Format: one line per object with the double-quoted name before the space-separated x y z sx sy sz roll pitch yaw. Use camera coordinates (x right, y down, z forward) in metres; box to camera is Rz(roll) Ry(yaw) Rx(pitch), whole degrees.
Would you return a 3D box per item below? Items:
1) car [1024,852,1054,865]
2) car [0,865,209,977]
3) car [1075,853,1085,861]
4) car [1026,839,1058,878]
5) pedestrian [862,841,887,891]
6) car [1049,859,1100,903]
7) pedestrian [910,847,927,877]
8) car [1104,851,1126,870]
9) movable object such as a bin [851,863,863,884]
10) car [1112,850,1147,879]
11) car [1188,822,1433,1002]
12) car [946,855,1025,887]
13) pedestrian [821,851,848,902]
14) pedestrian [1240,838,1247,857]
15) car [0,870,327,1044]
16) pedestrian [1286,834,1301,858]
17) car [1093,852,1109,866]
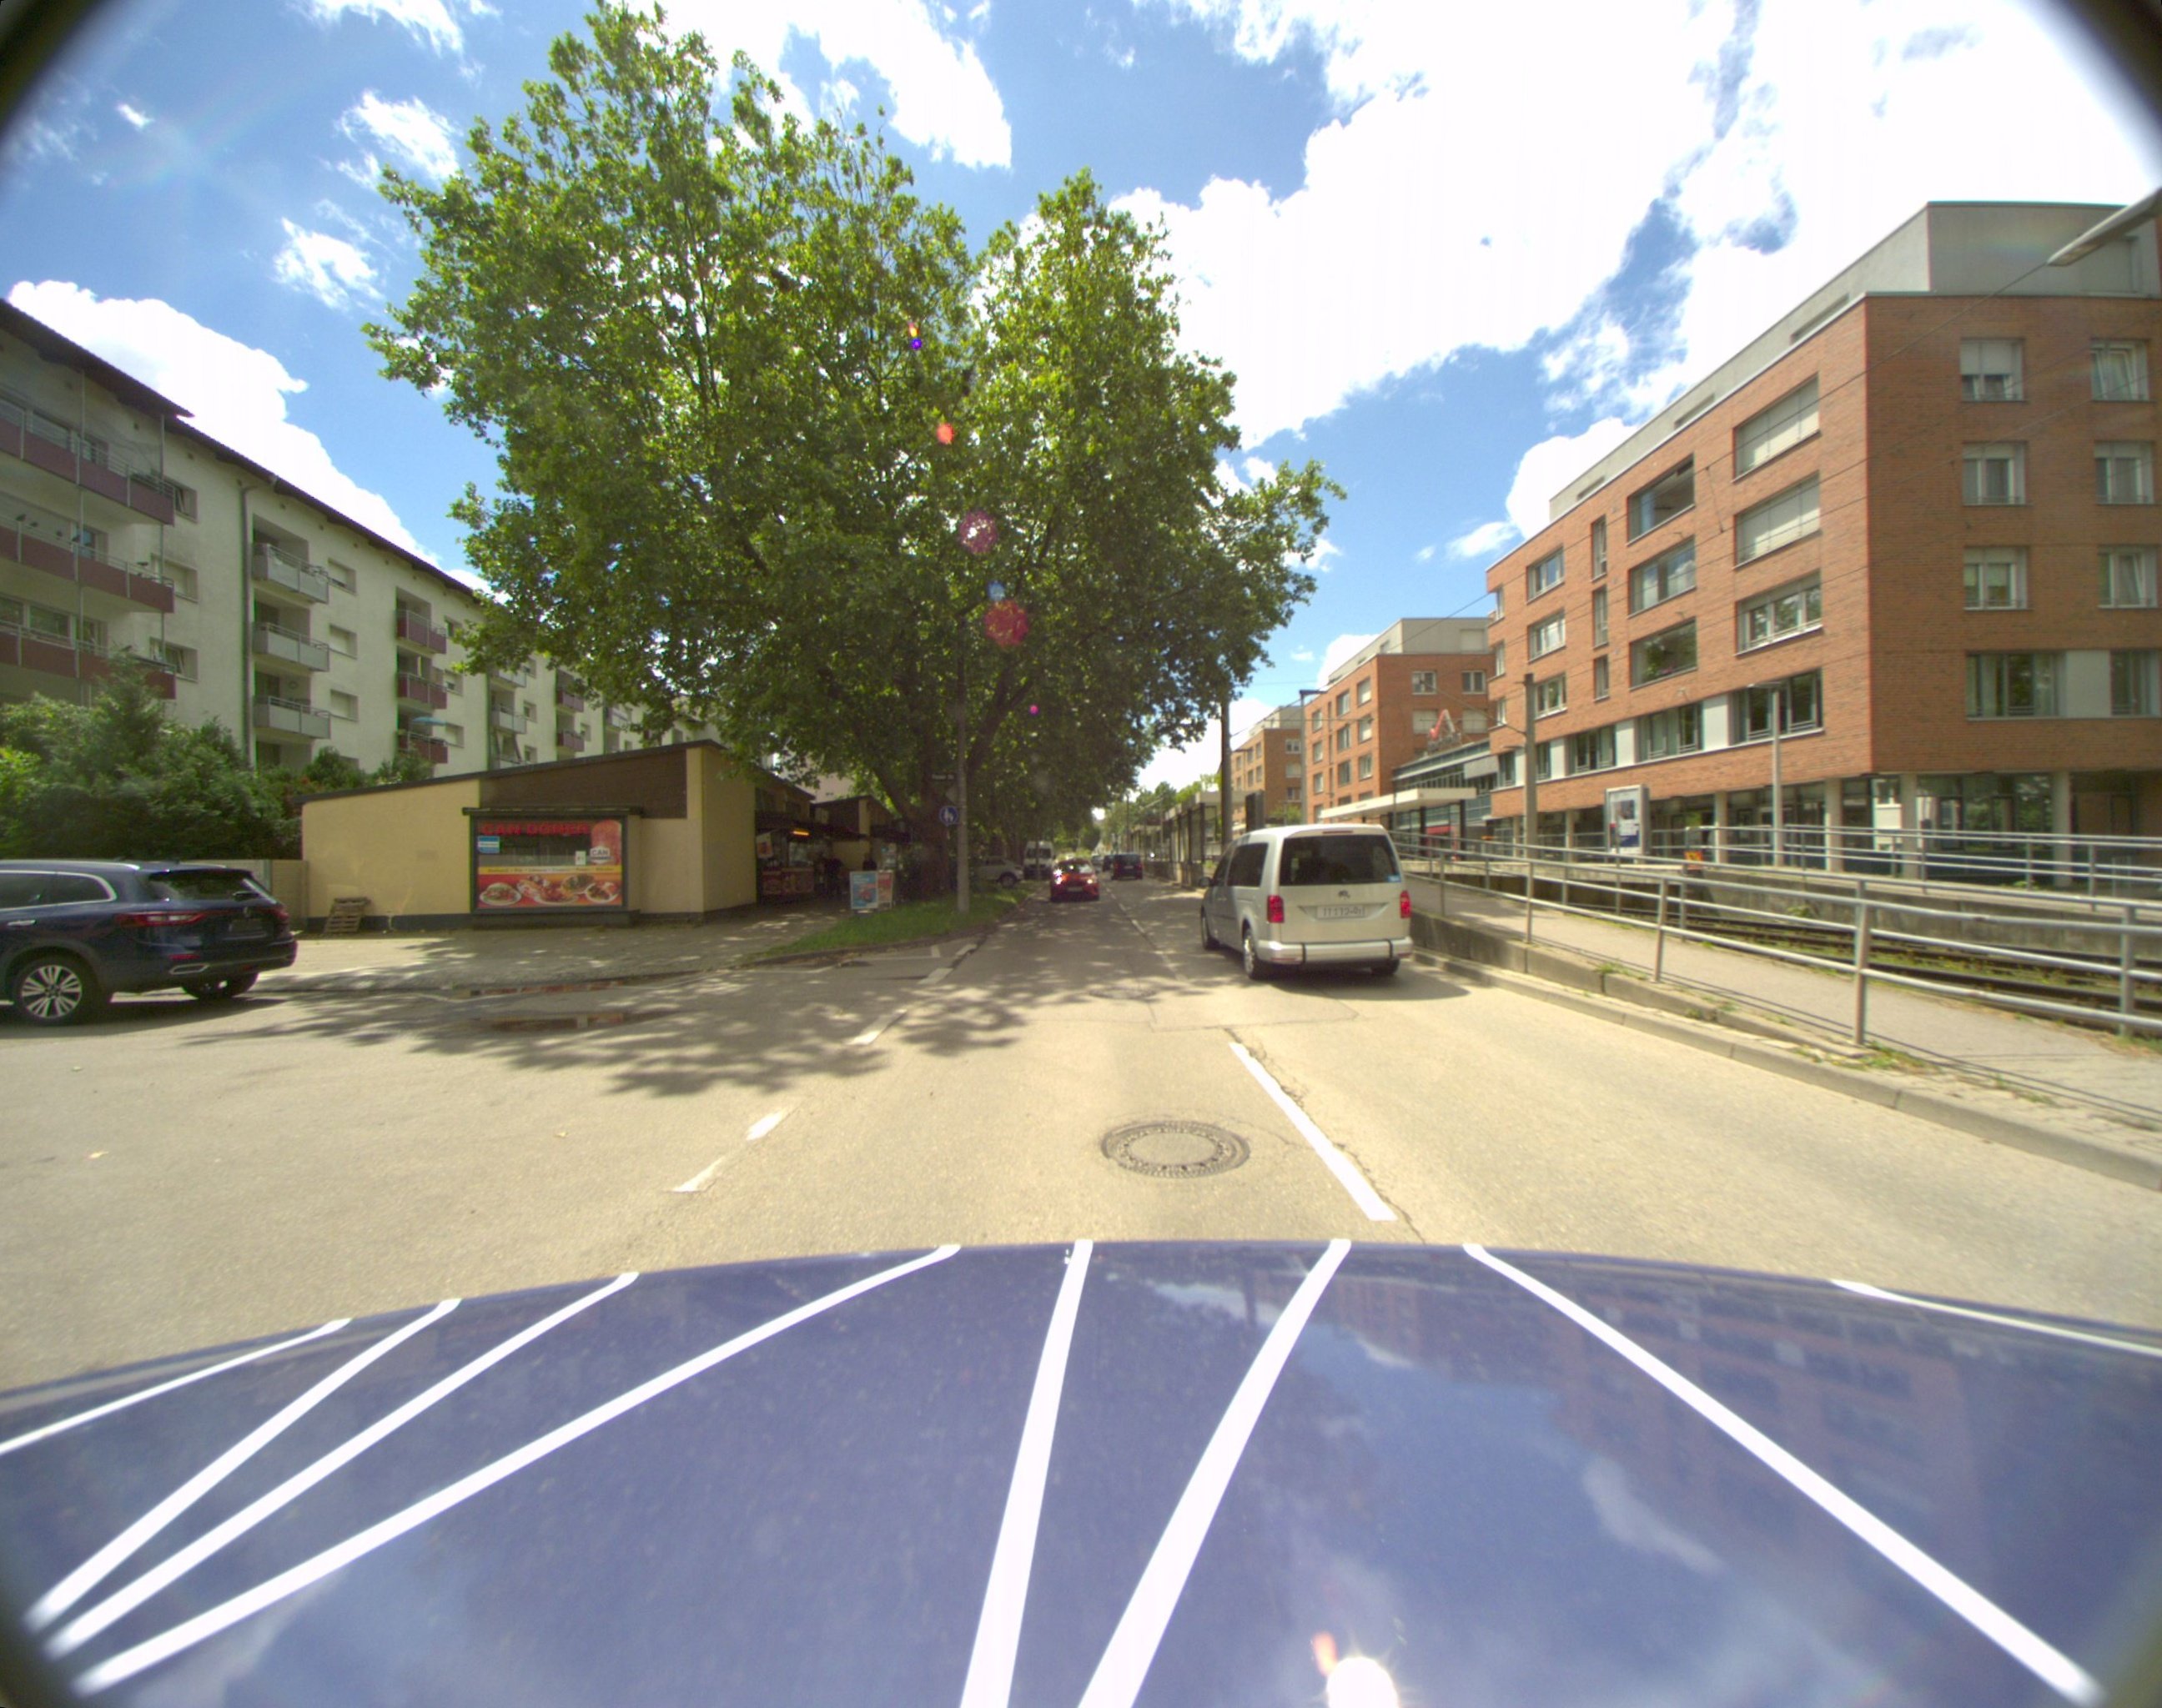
"car" -4.883 0.514 87.354 3.417 1.506 1.609 -1 0 -4
"car" -17.230 1.027 12.155 4.105 1.645 1.809 0 1 -8
"car" -0.182 0.614 138.411 1.736 1.388 3.751 -1 0 -1
"car" -2.693 0.247 53.583 1.909 2.566 6.832 1 1 0
"pedestrian" -7.062 0.410 26.009 0.625 1.666 0.772 -1 1 0
"car" -0.223 0.922 27.697 1.712 1.439 3.669 -1 0 0
"pedestrian" -9.962 0.476 46.518 0.923 1.791 0.607 2 2 44
"car" 2.960 0.580 67.033 1.700 1.555 3.860 -2 1 0
"movable object such as a bin" -9.994 0.851 33.967 0.438 0.909 0.587 0 1 -9
"car" 2.890 0.603 46.297 1.758 1.624 4.118 -3 1 0
"car" 2.763 0.619 10.357 1.758 1.830 4.645 -2 0 -2
"car" -4.784 0.829 38.047 3.841 1.553 1.618 0 1 -7
"pedestrian" -8.392 0.764 25.876 0.761 1.715 0.658 0 1 -4
"pedestrian" 14.741 -0.612 68.944 0.535 1.753 0.528 -1 1 -3
"car" -11.503 1.037 8.343 4.192 1.672 2.012 0 0 -8
"pedestrian" 14.596 -0.557 52.182 0.753 1.619 0.815 -2 1 0
"car" 2.439 0.608 94.258 1.767 1.472 4.575 -3 1 -1
